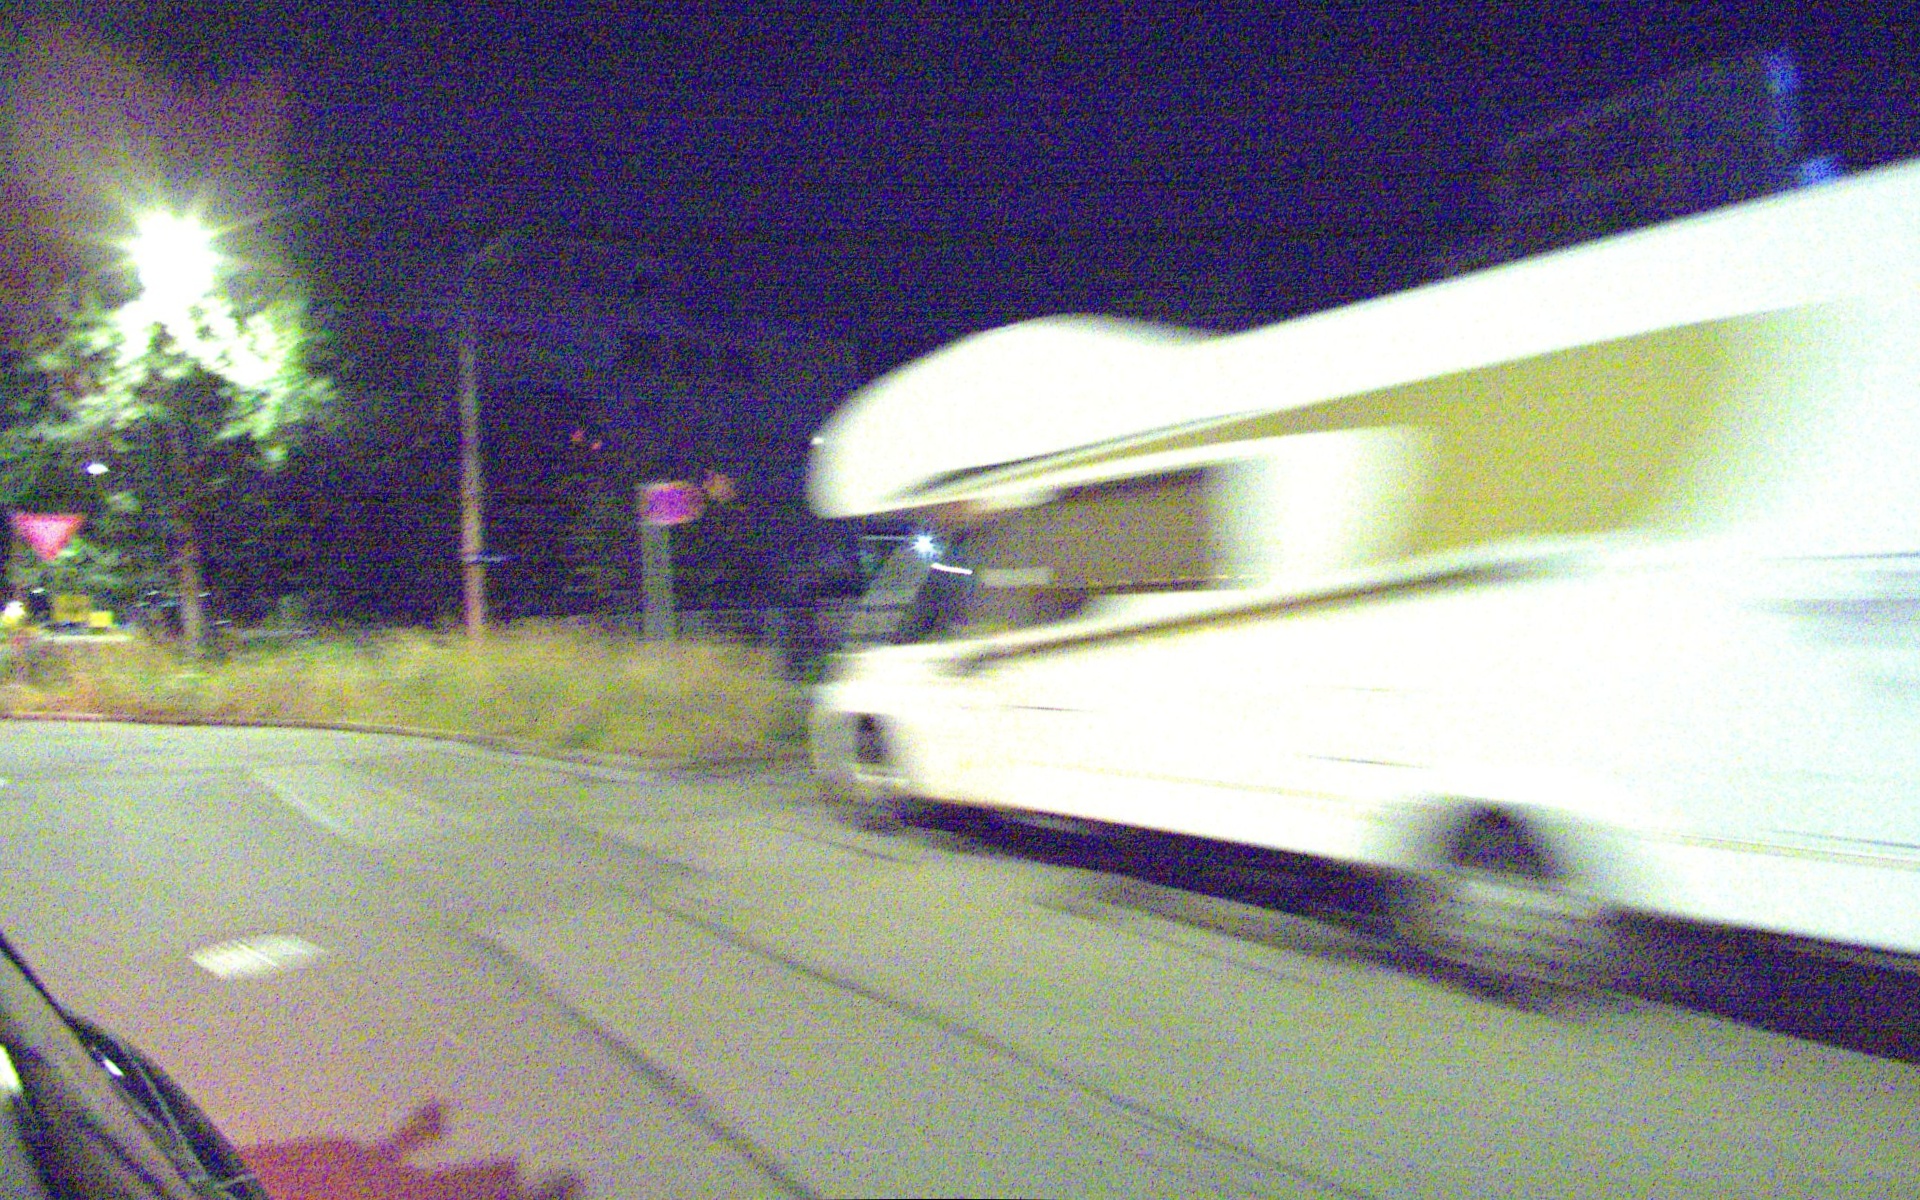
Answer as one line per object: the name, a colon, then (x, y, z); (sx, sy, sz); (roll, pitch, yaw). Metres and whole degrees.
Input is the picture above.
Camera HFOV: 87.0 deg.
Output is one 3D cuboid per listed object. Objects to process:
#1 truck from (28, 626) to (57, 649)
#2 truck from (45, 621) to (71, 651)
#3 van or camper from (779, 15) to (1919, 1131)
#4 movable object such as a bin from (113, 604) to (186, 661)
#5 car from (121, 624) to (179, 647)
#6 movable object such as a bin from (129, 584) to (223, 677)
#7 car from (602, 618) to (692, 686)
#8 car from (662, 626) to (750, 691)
truck: (-156.201, 6.348, 172.233); (10.402, 3.659, 2.791); (-3, 0, 43)
truck: (-136.195, 5.293, 152.851); (2.605, 4.347, 12.842); (1, -2, -41)
van or camper: (2.100, -0.032, 5.344); (2.488, 3.118, 7.454); (1, -2, -42)
movable object such as a bin: (-36.798, 1.456, 45.966); (2.825, 2.486, 1.539); (-1, -1, 26)
car: (-82.089, 3.573, 102.563); (4.380, 1.987, 2.002); (-3, 0, -44)
movable object such as a bin: (-24.818, 0.999, 31.994); (3.698, 2.755, 1.554); (-3, -4, 40)
car: (-13.156, 2.130, 42.357); (1.968, 2.573, 4.491); (-3, 0, -39)
car: (-11.154, 2.518, 44.240); (1.968, 2.573, 4.491); (-3, 0, -39)
